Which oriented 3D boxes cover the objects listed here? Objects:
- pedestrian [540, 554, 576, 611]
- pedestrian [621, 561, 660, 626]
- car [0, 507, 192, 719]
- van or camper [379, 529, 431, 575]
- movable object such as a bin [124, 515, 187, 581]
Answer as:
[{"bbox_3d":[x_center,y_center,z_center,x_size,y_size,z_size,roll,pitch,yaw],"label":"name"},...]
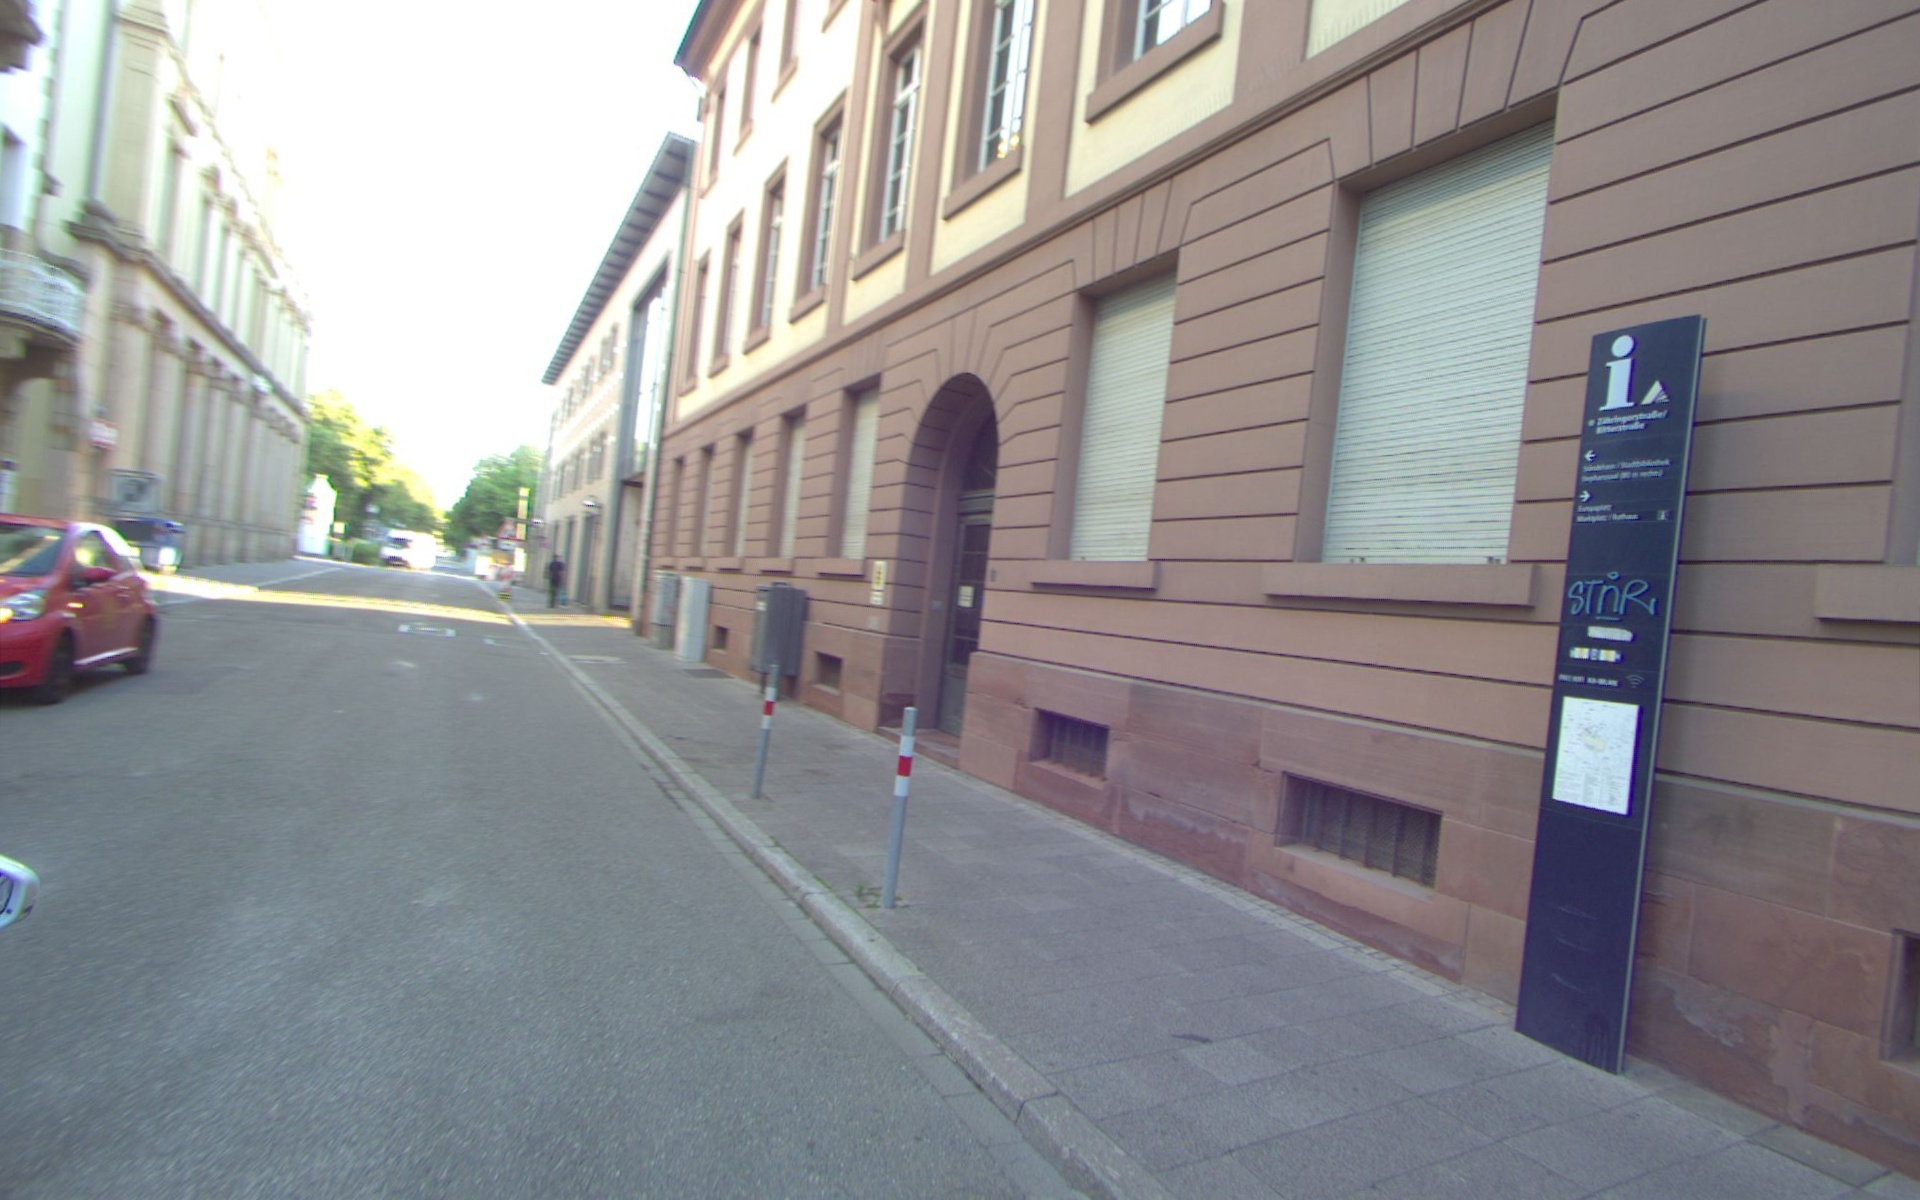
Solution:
[{"bbox_3d":[-13.439,-0.583,33.616,0.991,1.827,0.876,2,2,-28],"label":"pedestrian"},{"bbox_3d":[-9.320,-0.193,29.325,0.885,1.827,0.843,3,1,-25],"label":"pedestrian"},{"bbox_3d":[-8.093,-0.019,8.577,1.641,1.489,3.907,4,1,-26],"label":"car"},{"bbox_3d":[-36.298,-3.113,65.951,2.198,2.616,6.334,7,0,-24],"label":"van or camper"},{"bbox_3d":[-20.119,-1.293,25.186,0.821,1.521,1.283,7,0,-26],"label":"movable object such as a bin"}]
